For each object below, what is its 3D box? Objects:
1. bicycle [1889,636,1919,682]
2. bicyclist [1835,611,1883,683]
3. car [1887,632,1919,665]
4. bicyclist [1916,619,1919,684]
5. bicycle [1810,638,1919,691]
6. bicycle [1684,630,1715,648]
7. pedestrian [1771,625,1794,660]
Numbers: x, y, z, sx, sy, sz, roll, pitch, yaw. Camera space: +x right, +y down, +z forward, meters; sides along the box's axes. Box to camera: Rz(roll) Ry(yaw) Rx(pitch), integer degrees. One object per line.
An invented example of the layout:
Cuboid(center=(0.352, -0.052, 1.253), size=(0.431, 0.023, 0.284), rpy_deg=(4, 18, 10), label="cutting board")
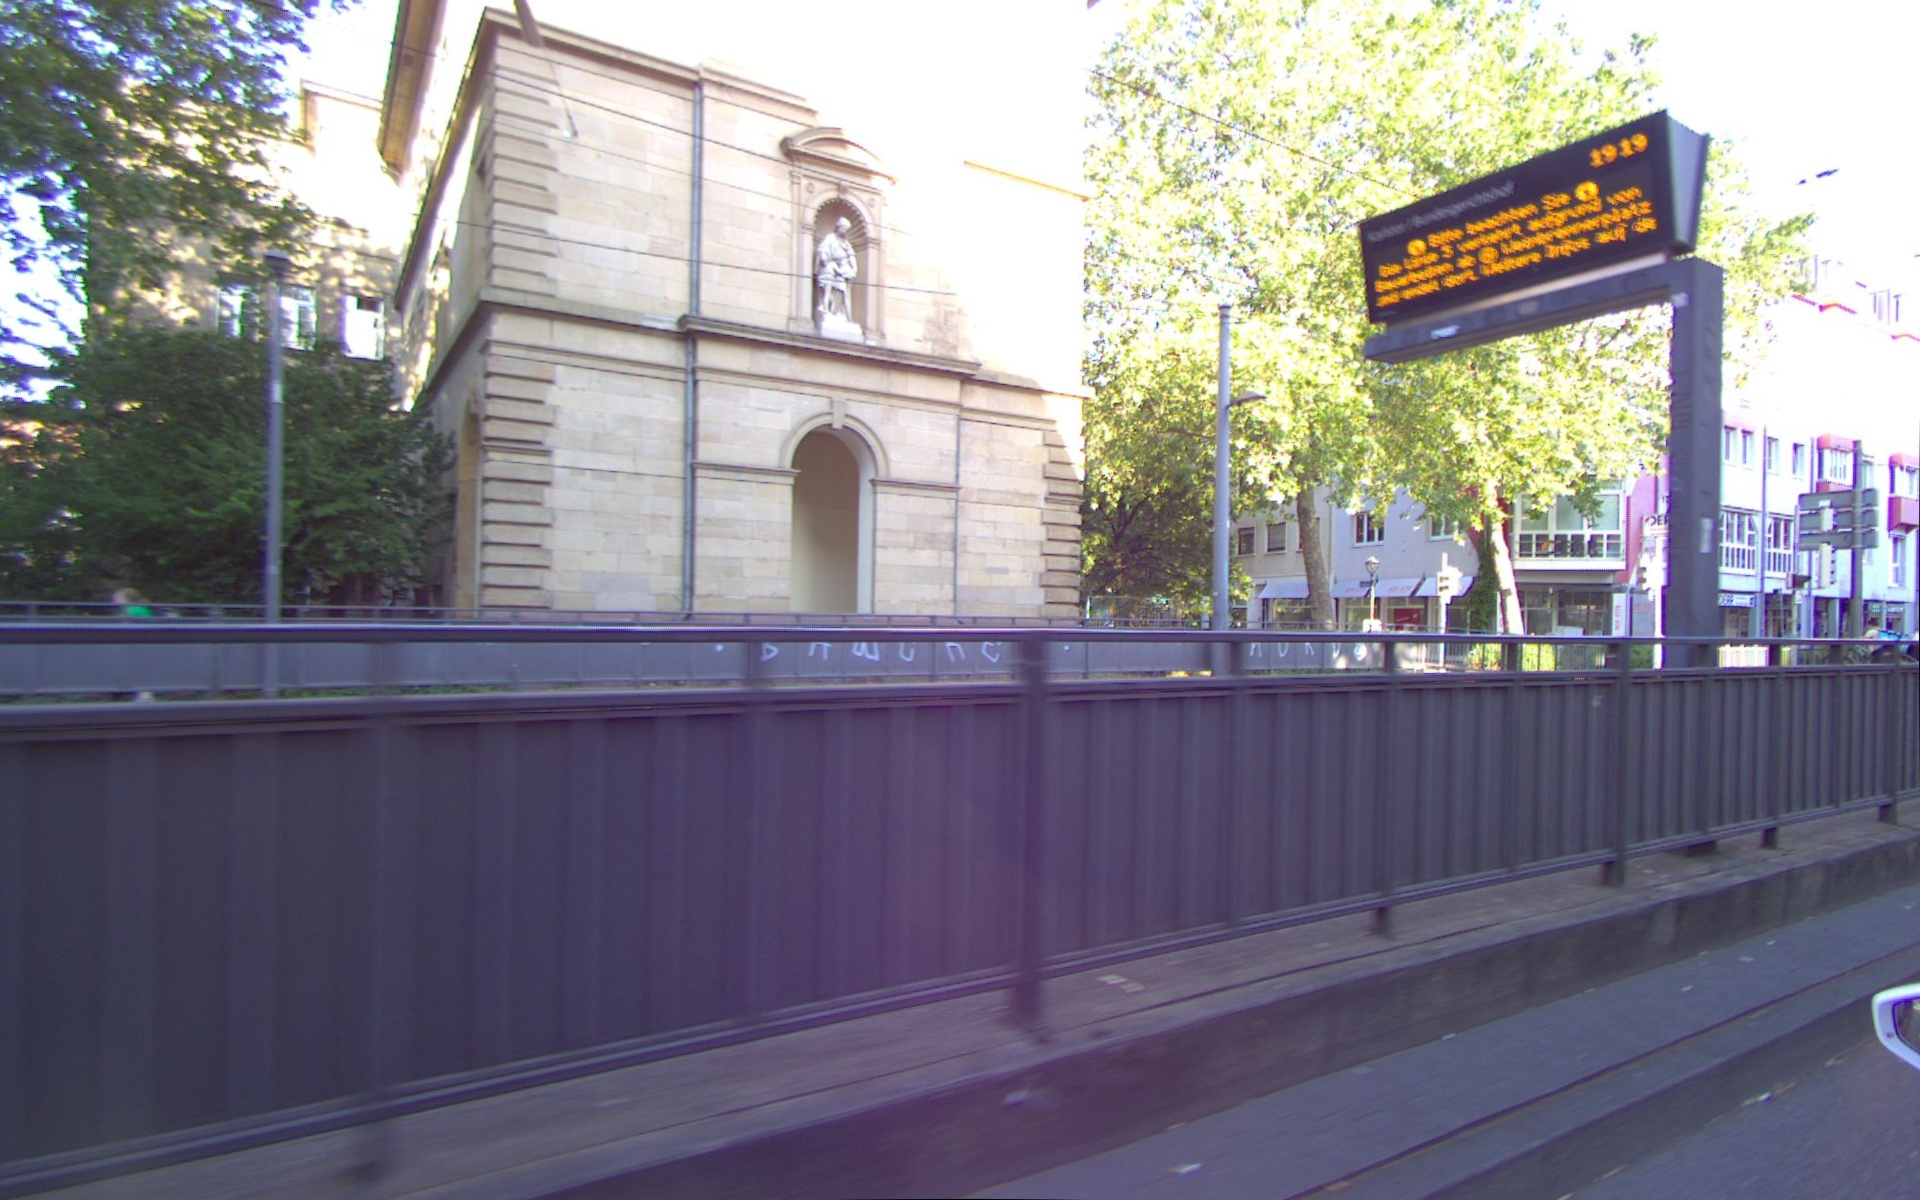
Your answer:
Cuboid(center=(24.341, 1.519, 24.882), size=(0.580, 1.092, 1.875), rpy_deg=(1, 2, -42), label="bicycle")
Cuboid(center=(22.054, 1.144, 24.645), size=(0.527, 1.735, 0.739), rpy_deg=(1, 0, -30), label="bicyclist")
Cuboid(center=(45.626, 2.284, 47.244), size=(4.657, 1.458, 1.858), rpy_deg=(2, 0, -33), label="car")
Cuboid(center=(24.305, 1.301, 24.957), size=(0.530, 1.599, 0.736), rpy_deg=(1, 1, -42), label="bicyclist")
Cuboid(center=(22.105, 1.558, 24.574), size=(0.577, 1.092, 1.883), rpy_deg=(2, 2, -31), label="bicycle")
Cuboid(center=(29.570, 1.546, 40.151), size=(1.793, 0.667, 0.452), rpy_deg=(2, 2, -36), label="bicycle")
Cuboid(center=(40.593, 2.095, 49.565), size=(0.609, 1.735, 0.738), rpy_deg=(1, 0, -34), label="pedestrian")
